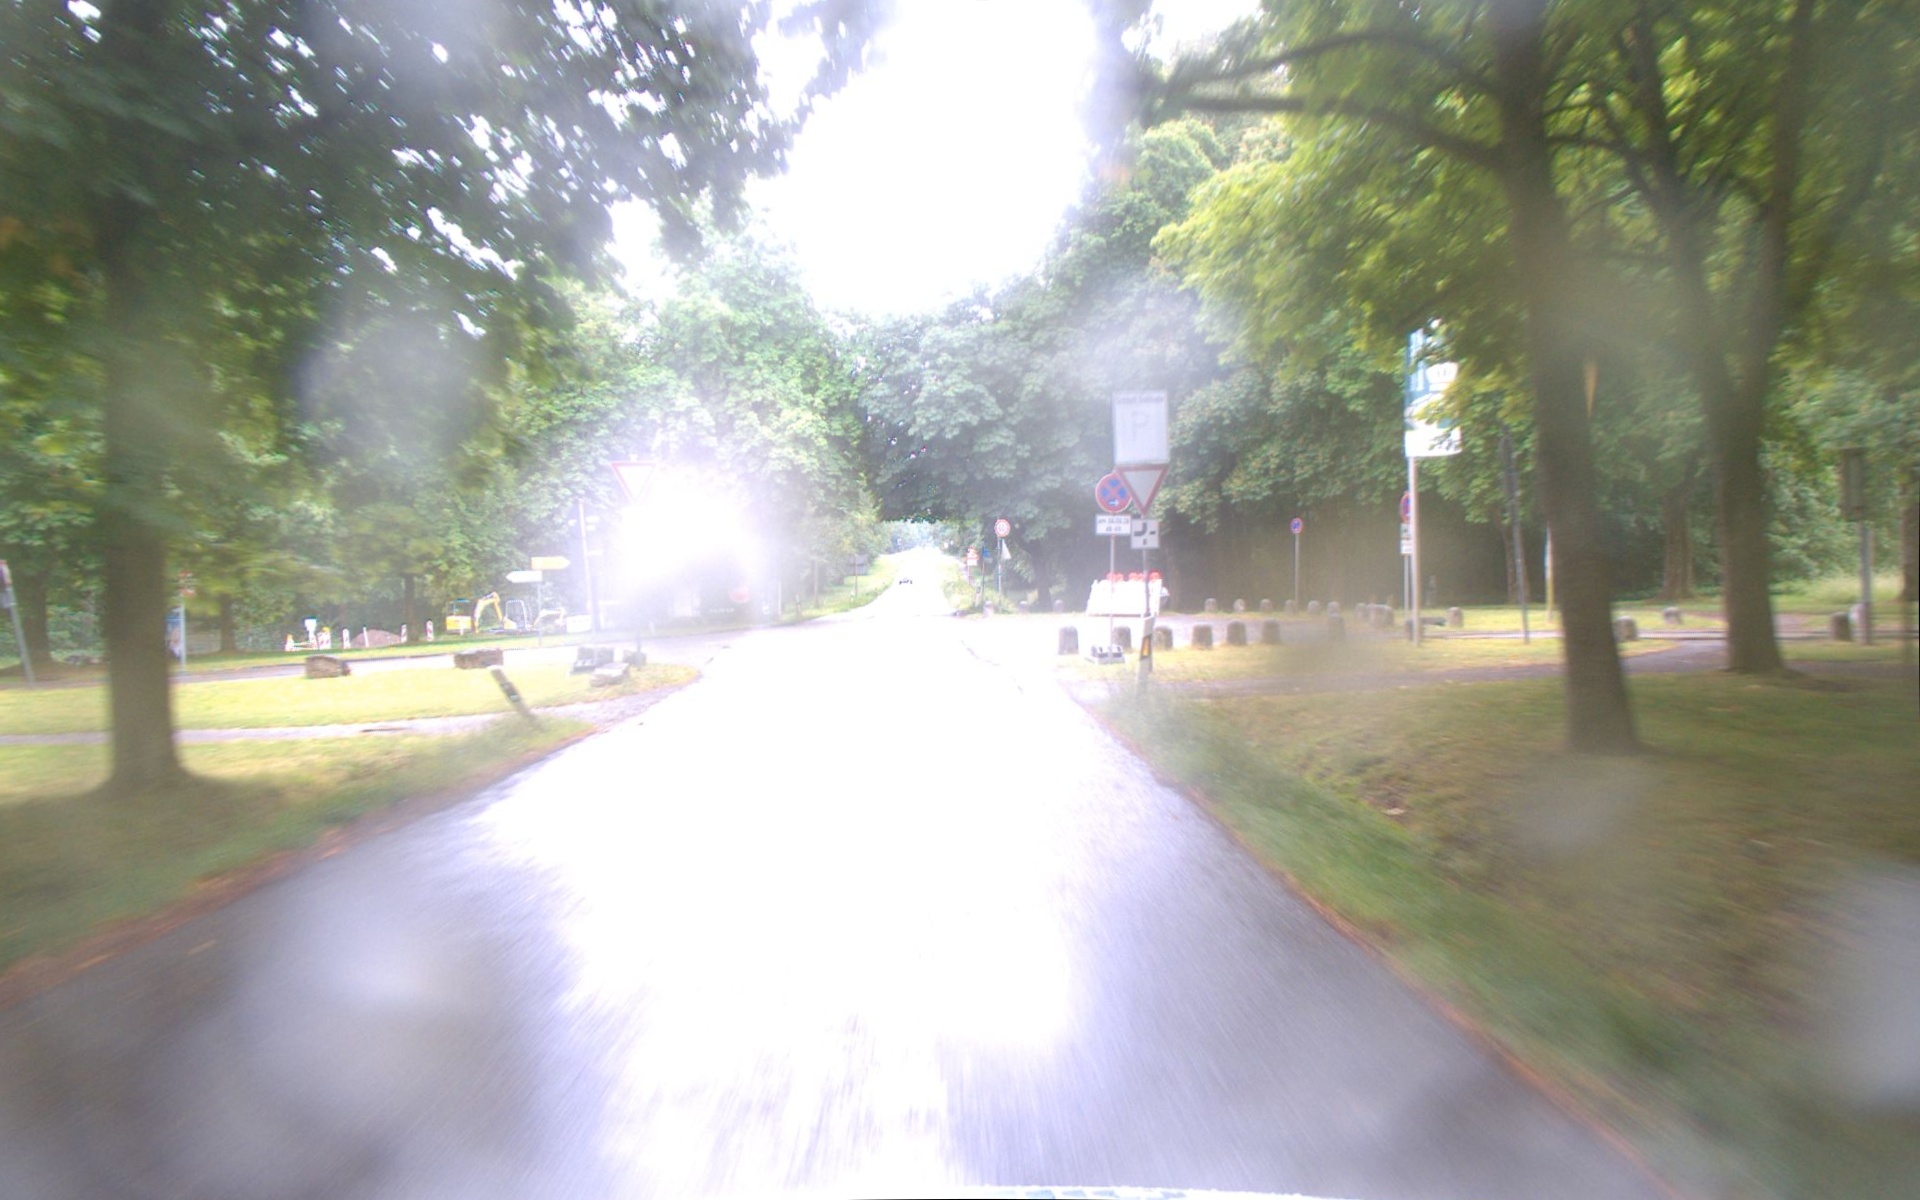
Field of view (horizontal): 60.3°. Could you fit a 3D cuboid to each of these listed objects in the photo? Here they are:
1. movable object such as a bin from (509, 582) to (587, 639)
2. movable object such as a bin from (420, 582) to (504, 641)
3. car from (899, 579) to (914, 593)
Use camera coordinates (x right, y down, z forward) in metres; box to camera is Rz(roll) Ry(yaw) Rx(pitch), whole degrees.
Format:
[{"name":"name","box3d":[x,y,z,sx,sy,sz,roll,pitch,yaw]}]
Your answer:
[{"name":"movable object such as a bin","box3d":[-26.093,0.647,104.855,4.502,3.351,3.655,-3,0,-12]},{"name":"movable object such as a bin","box3d":[-30.978,0.703,103.107,4.574,3.351,3.902,-3,0,-12]},{"name":"car","box3d":[-7.261,-1.941,225.555,1.953,1.746,3.999,-3,1,-1]}]
